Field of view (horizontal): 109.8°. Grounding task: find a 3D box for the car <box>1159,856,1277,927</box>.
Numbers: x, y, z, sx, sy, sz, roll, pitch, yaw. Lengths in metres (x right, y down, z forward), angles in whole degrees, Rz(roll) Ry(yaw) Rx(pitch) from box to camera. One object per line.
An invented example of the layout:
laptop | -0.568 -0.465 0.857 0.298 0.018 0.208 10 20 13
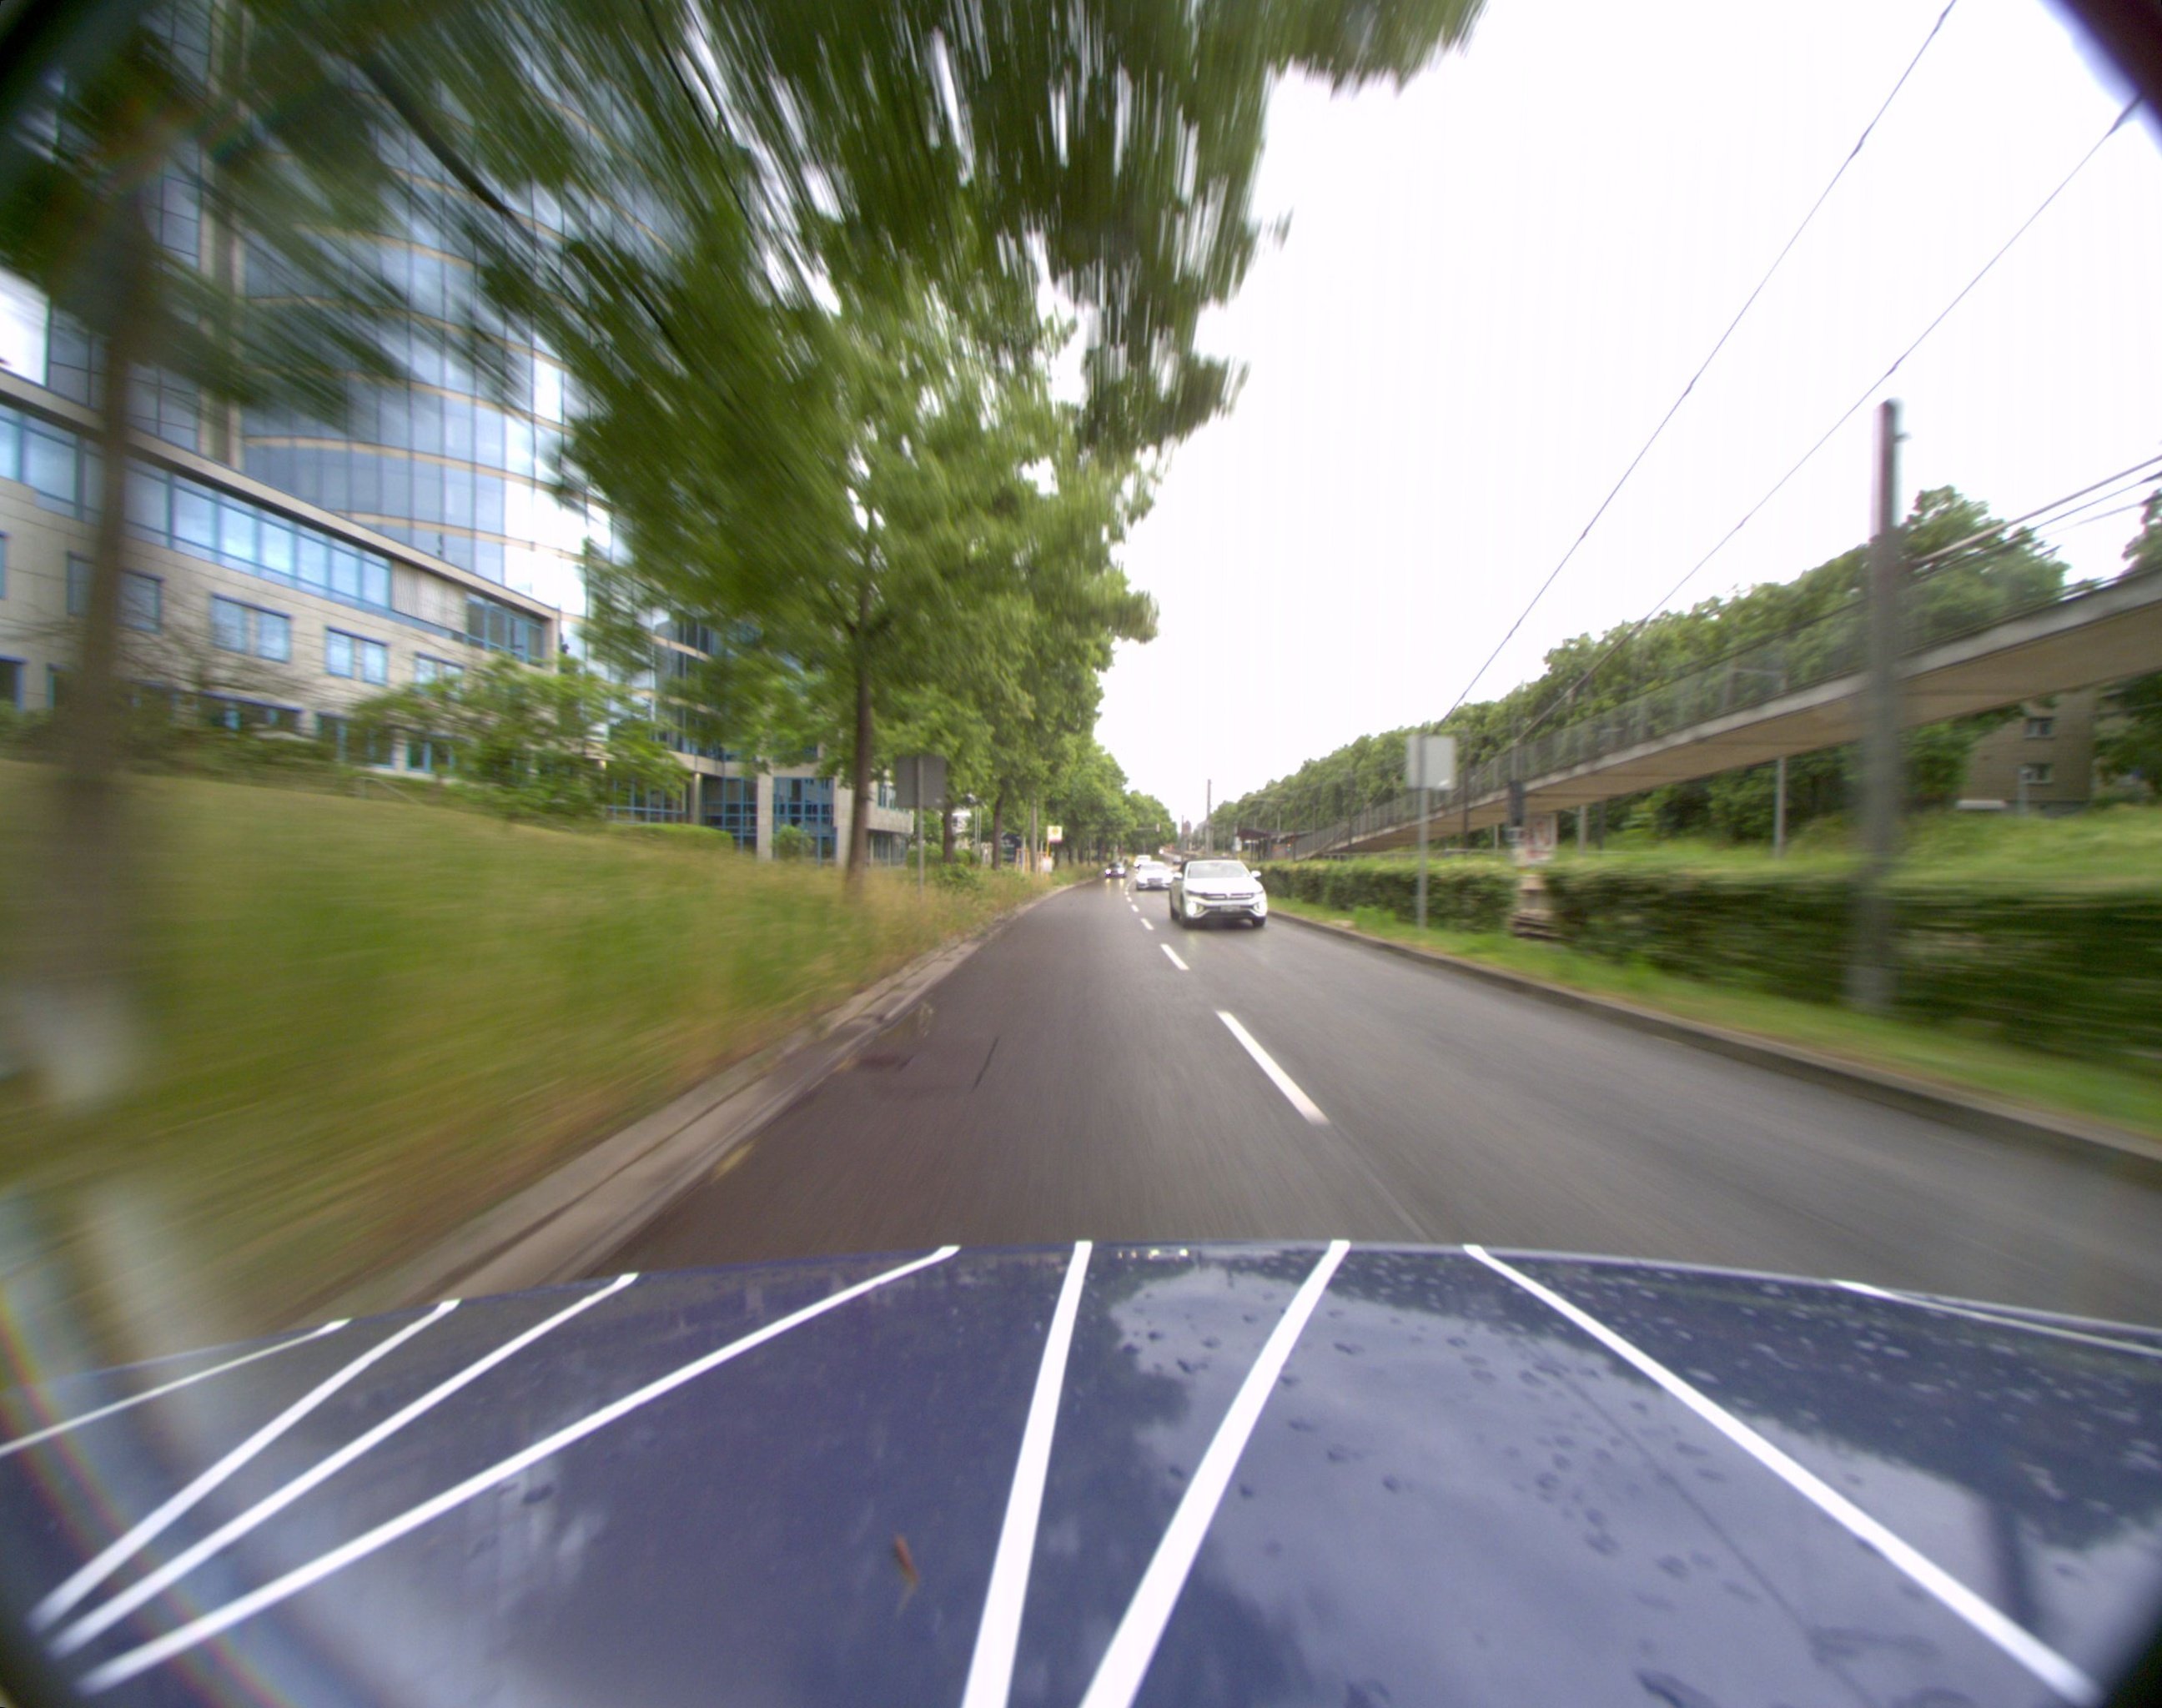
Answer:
car | 3.101 0.793 18.222 1.960 1.457 4.699 0 0 0

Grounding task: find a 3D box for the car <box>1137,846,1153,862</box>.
car | 8.404 -0.005 99.555 1.959 1.914 4.847 -2 1 6

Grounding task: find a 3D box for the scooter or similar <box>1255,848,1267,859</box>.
scooter or similar | 20.061 -0.087 84.610 0.380 1.211 1.297 -3 2 -37

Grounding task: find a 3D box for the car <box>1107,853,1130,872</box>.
car | 3.395 0.734 67.780 1.960 1.469 4.700 -2 1 4

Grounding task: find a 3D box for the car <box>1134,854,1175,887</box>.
car | 3.895 0.822 39.868 1.959 1.472 4.701 -2 1 6

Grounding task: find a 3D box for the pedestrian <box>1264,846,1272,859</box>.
pedestrian | 19.867 -0.195 80.870 0.754 1.348 0.692 0 1 6
